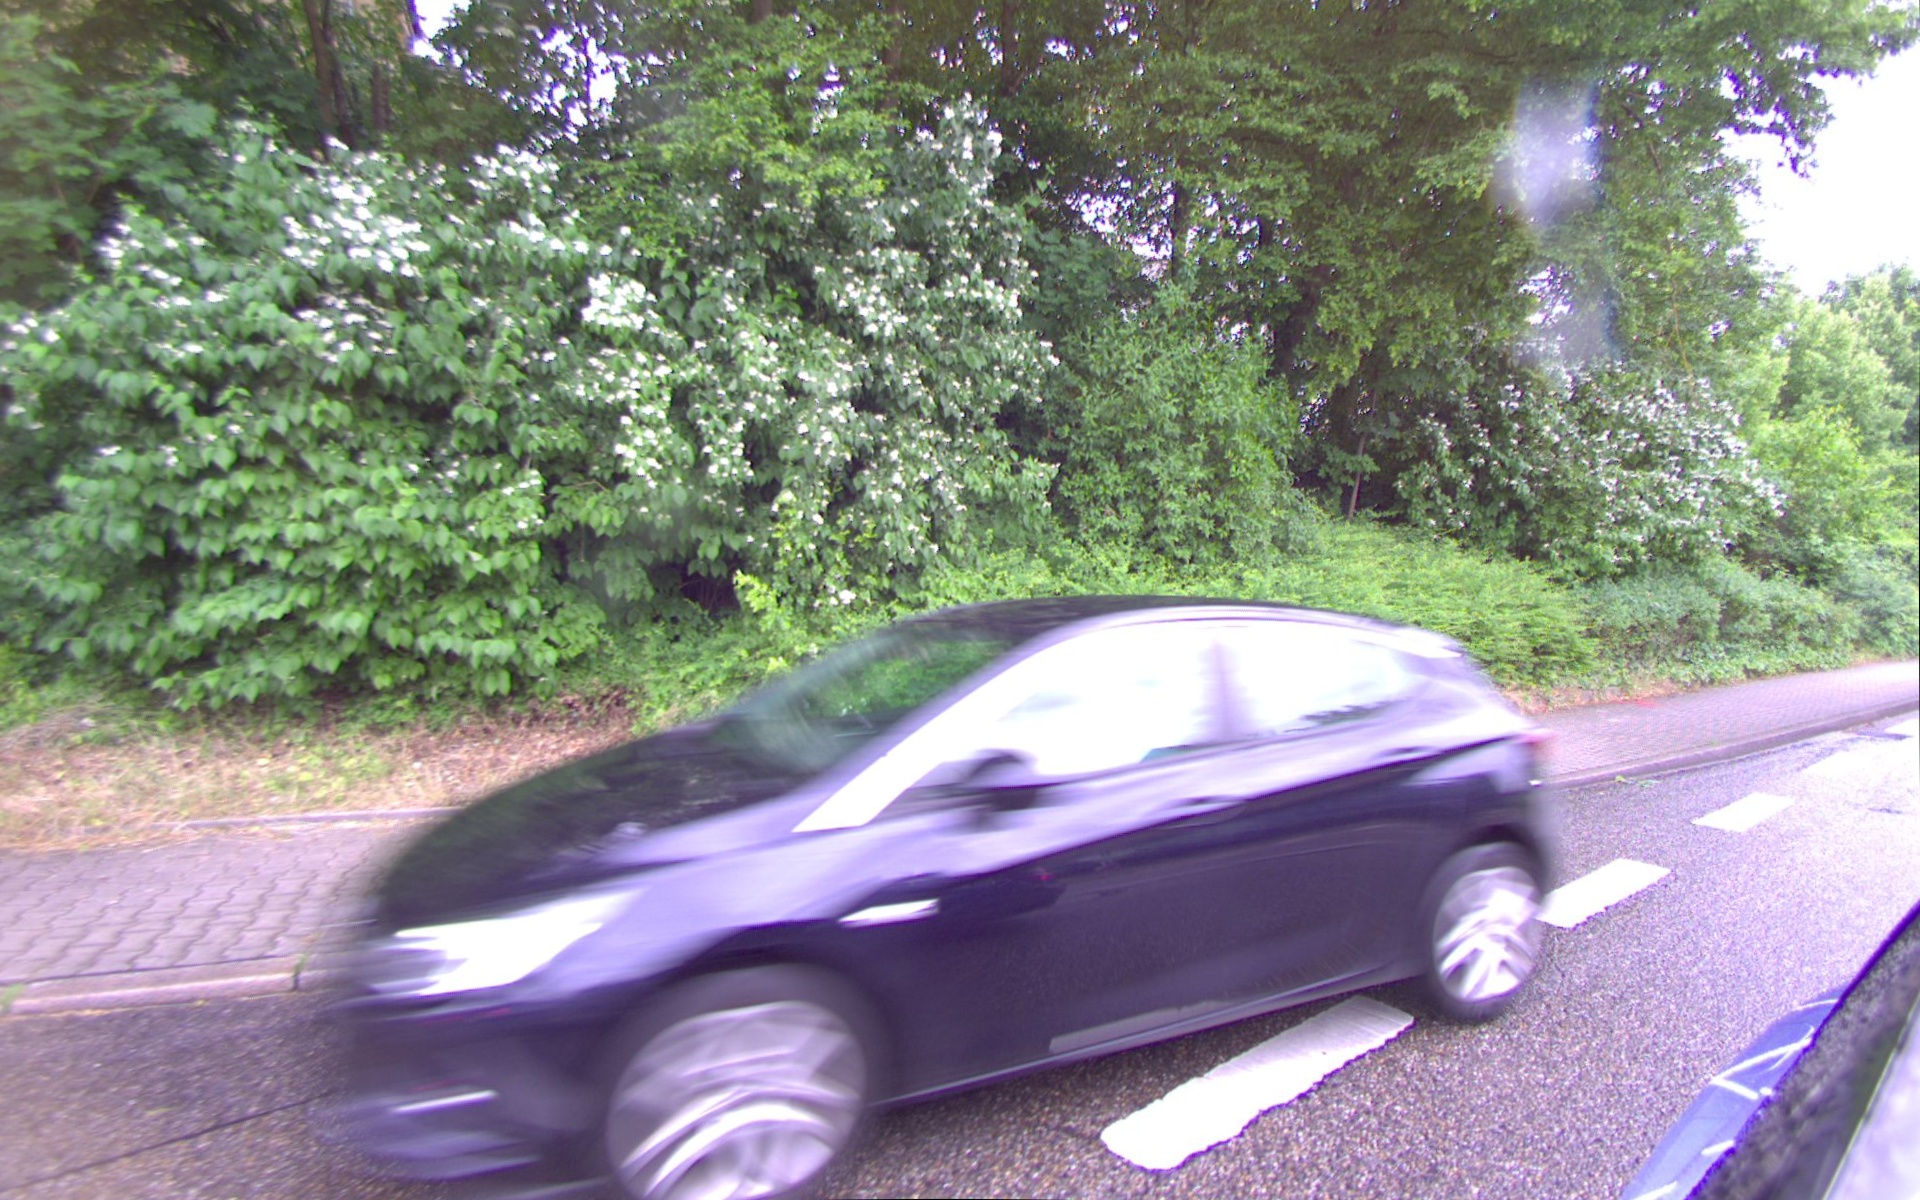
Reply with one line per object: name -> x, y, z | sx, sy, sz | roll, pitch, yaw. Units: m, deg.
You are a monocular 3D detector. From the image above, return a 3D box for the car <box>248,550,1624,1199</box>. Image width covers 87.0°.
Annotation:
car -> 0.139, 0.631, 3.543 | 4.077, 1.460, 1.822 | 0, 4, -27
